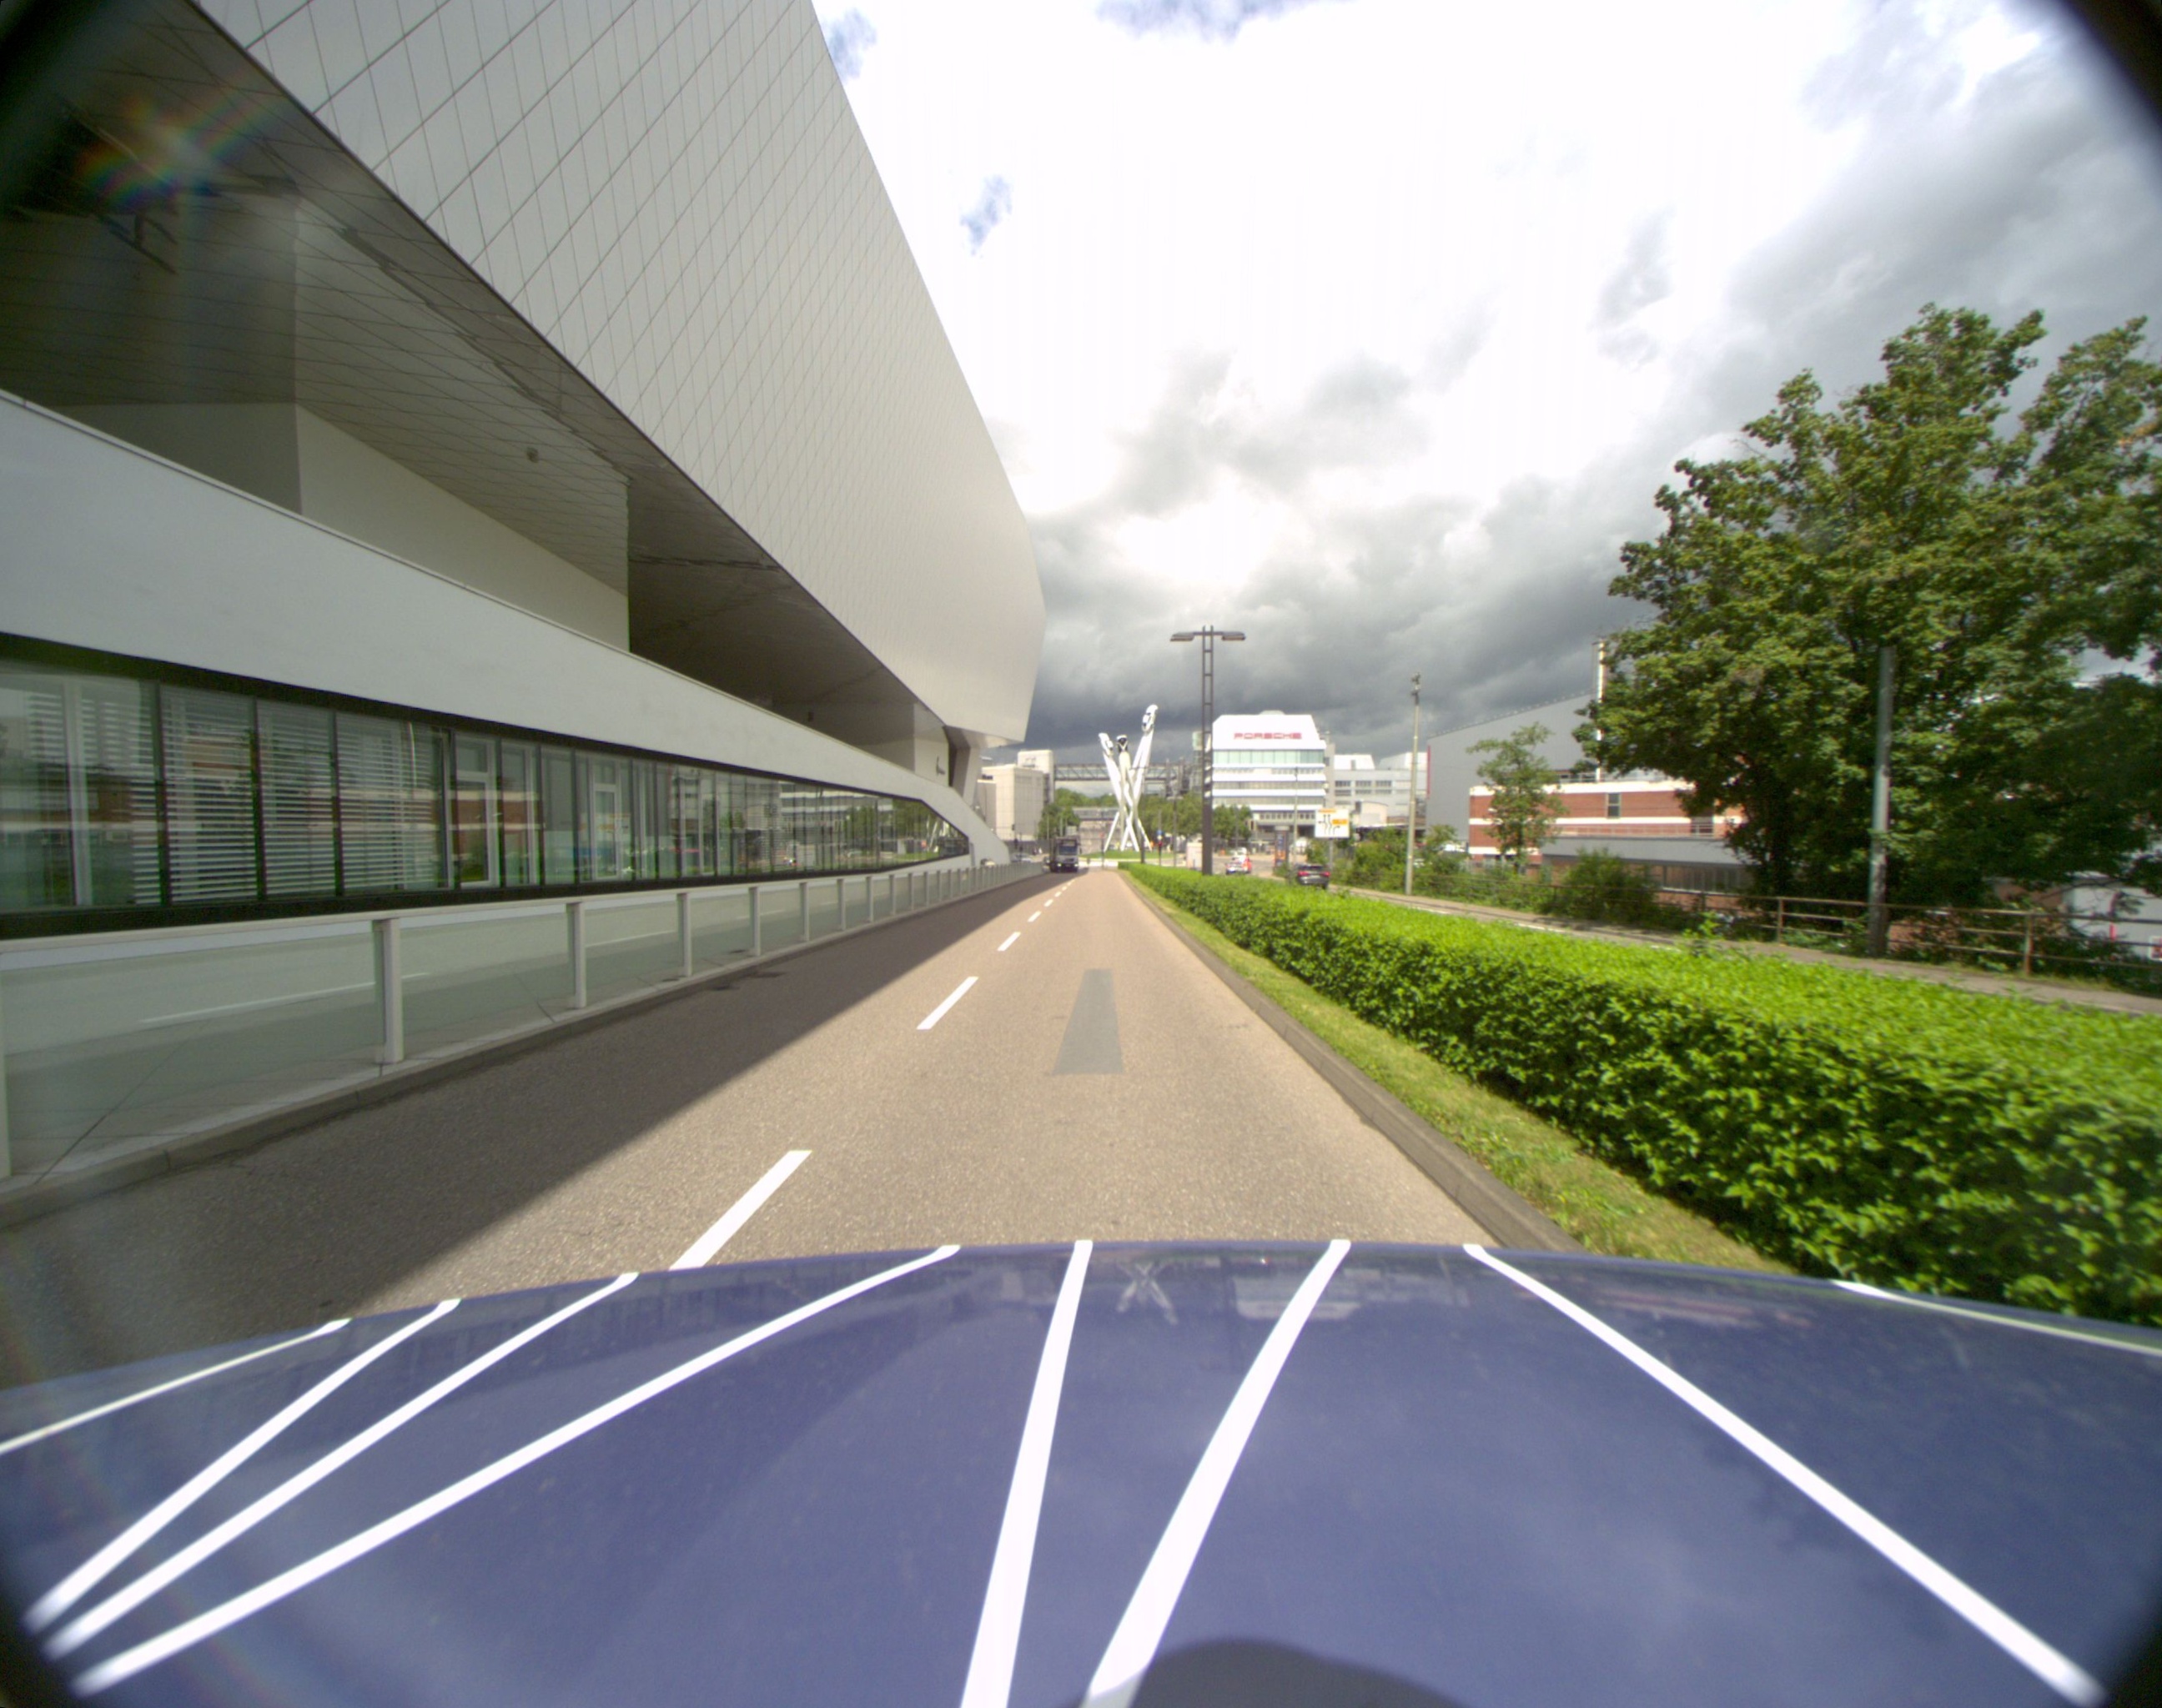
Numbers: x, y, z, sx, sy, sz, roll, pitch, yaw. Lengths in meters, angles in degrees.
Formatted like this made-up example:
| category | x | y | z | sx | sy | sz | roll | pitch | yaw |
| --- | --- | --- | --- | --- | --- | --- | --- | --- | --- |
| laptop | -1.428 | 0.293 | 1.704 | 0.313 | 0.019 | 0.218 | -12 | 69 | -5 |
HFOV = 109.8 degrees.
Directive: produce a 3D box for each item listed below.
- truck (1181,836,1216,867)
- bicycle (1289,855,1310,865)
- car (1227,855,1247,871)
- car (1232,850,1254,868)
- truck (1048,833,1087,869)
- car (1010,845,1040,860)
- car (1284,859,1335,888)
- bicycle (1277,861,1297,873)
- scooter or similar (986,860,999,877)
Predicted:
| category | x | y | z | sx | sy | sz | roll | pitch | yaw |
| --- | --- | --- | --- | --- | --- | --- | --- | --- | --- |
| truck | 11.853 | -0.138 | 77.276 | 2.862 | 2.840 | 9.382 | 0 | -1 | 4 |
| bicycle | 21.367 | 0.582 | 74.238 | 1.952 | 0.983 | 0.620 | 0 | 0 | -23 |
| car | 15.747 | 0.870 | 76.480 | 1.799 | 1.414 | 4.496 | 1 | 1 | 13 |
| car | 17.780 | 0.534 | 83.296 | 1.996 | 1.946 | 4.633 | 0 | 1 | 16 |
| truck | -1.575 | -0.406 | 83.210 | 2.845 | 3.669 | 10.743 | 0 | 1 | -8 |
| car | -7.611 | -0.240 | 102.361 | 2.167 | 1.899 | 5.293 | -1 | 1 | -27 |
| car | 13.002 | 1.065 | 43.508 | 1.843 | 1.499 | 4.562 | 0 | 0 | 5 |
| bicycle | 21.784 | 1.373 | 80.346 | 2.041 | 1.161 | 0.621 | 0 | 1 | 10 |
| scooter or similar | -6.758 | 1.072 | 58.187 | 0.708 | 1.235 | 1.952 | -1 | 1 | 1 |
